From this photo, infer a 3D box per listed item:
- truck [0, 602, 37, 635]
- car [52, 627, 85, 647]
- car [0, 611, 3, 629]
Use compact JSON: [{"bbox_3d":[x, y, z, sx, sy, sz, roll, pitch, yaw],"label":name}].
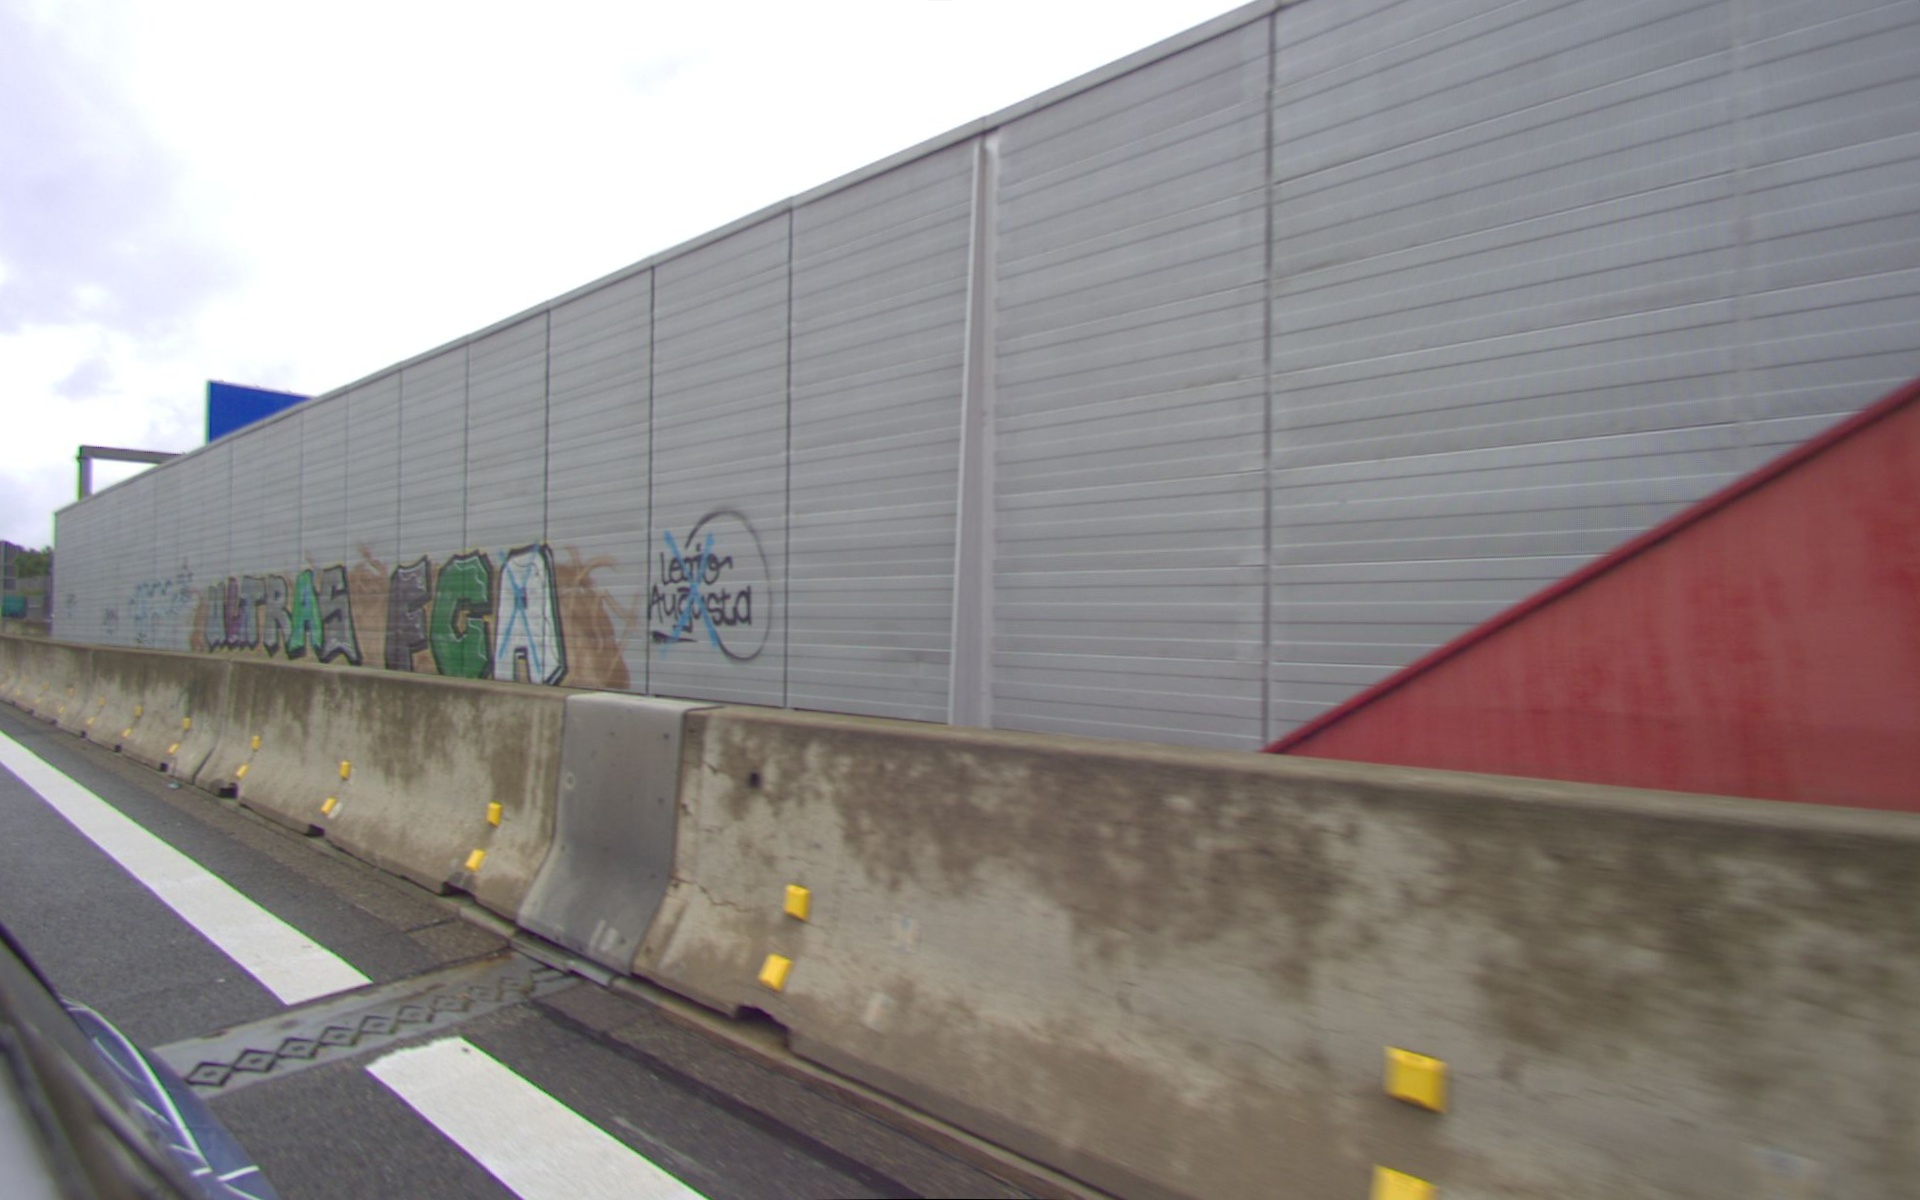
[{"bbox_3d":[-114.021,2.216,122.206,7.516,3.867,2.833,-1,0,40],"label":"truck"},{"bbox_3d":[-91.106,3.767,103.372,3.997,1.996,1.973,-1,-1,40],"label":"car"},{"bbox_3d":[-109.025,2.274,113.186,7.055,2.029,2.191,-1,-1,41],"label":"car"}]
